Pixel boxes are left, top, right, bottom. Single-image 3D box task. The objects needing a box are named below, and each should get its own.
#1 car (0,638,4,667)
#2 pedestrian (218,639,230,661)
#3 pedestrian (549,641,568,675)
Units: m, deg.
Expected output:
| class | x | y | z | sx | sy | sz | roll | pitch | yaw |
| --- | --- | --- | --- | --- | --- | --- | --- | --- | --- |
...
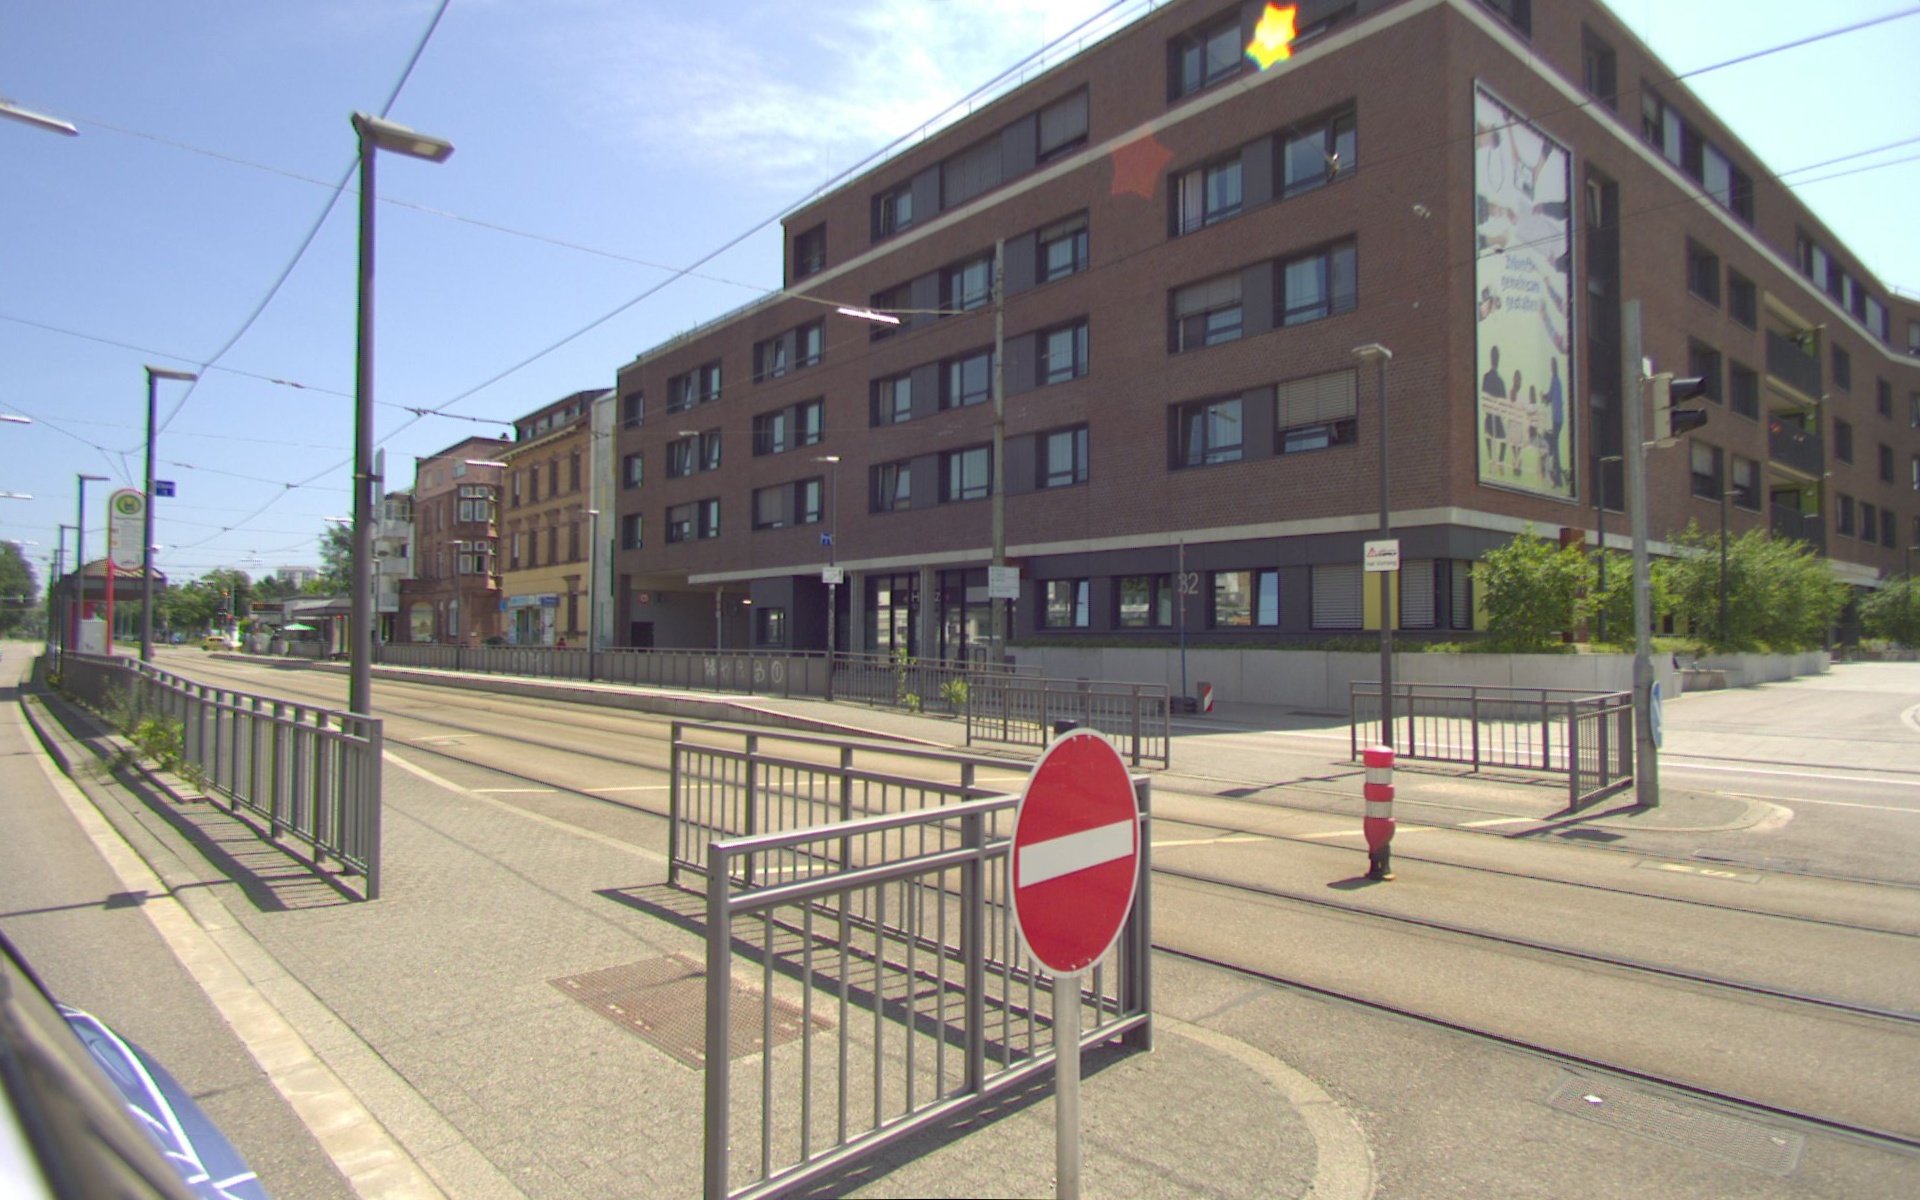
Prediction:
| class | x | y | z | sx | sy | sz | roll | pitch | yaw |
| --- | --- | --- | --- | --- | --- | --- | --- | --- | --- |
| car | -55.263 | 2.973 | 57.021 | 4.486 | 1.567 | 1.726 | -2 | -2 | 42 |
| pedestrian | -55.076 | 3.732 | 75.747 | 0.589 | 1.637 | 0.677 | 4 | -4 | -42 |
| pedestrian | -19.124 | 2.746 | 48.219 | 0.596 | 1.608 | 0.715 | 2 | -3 | -45 |
